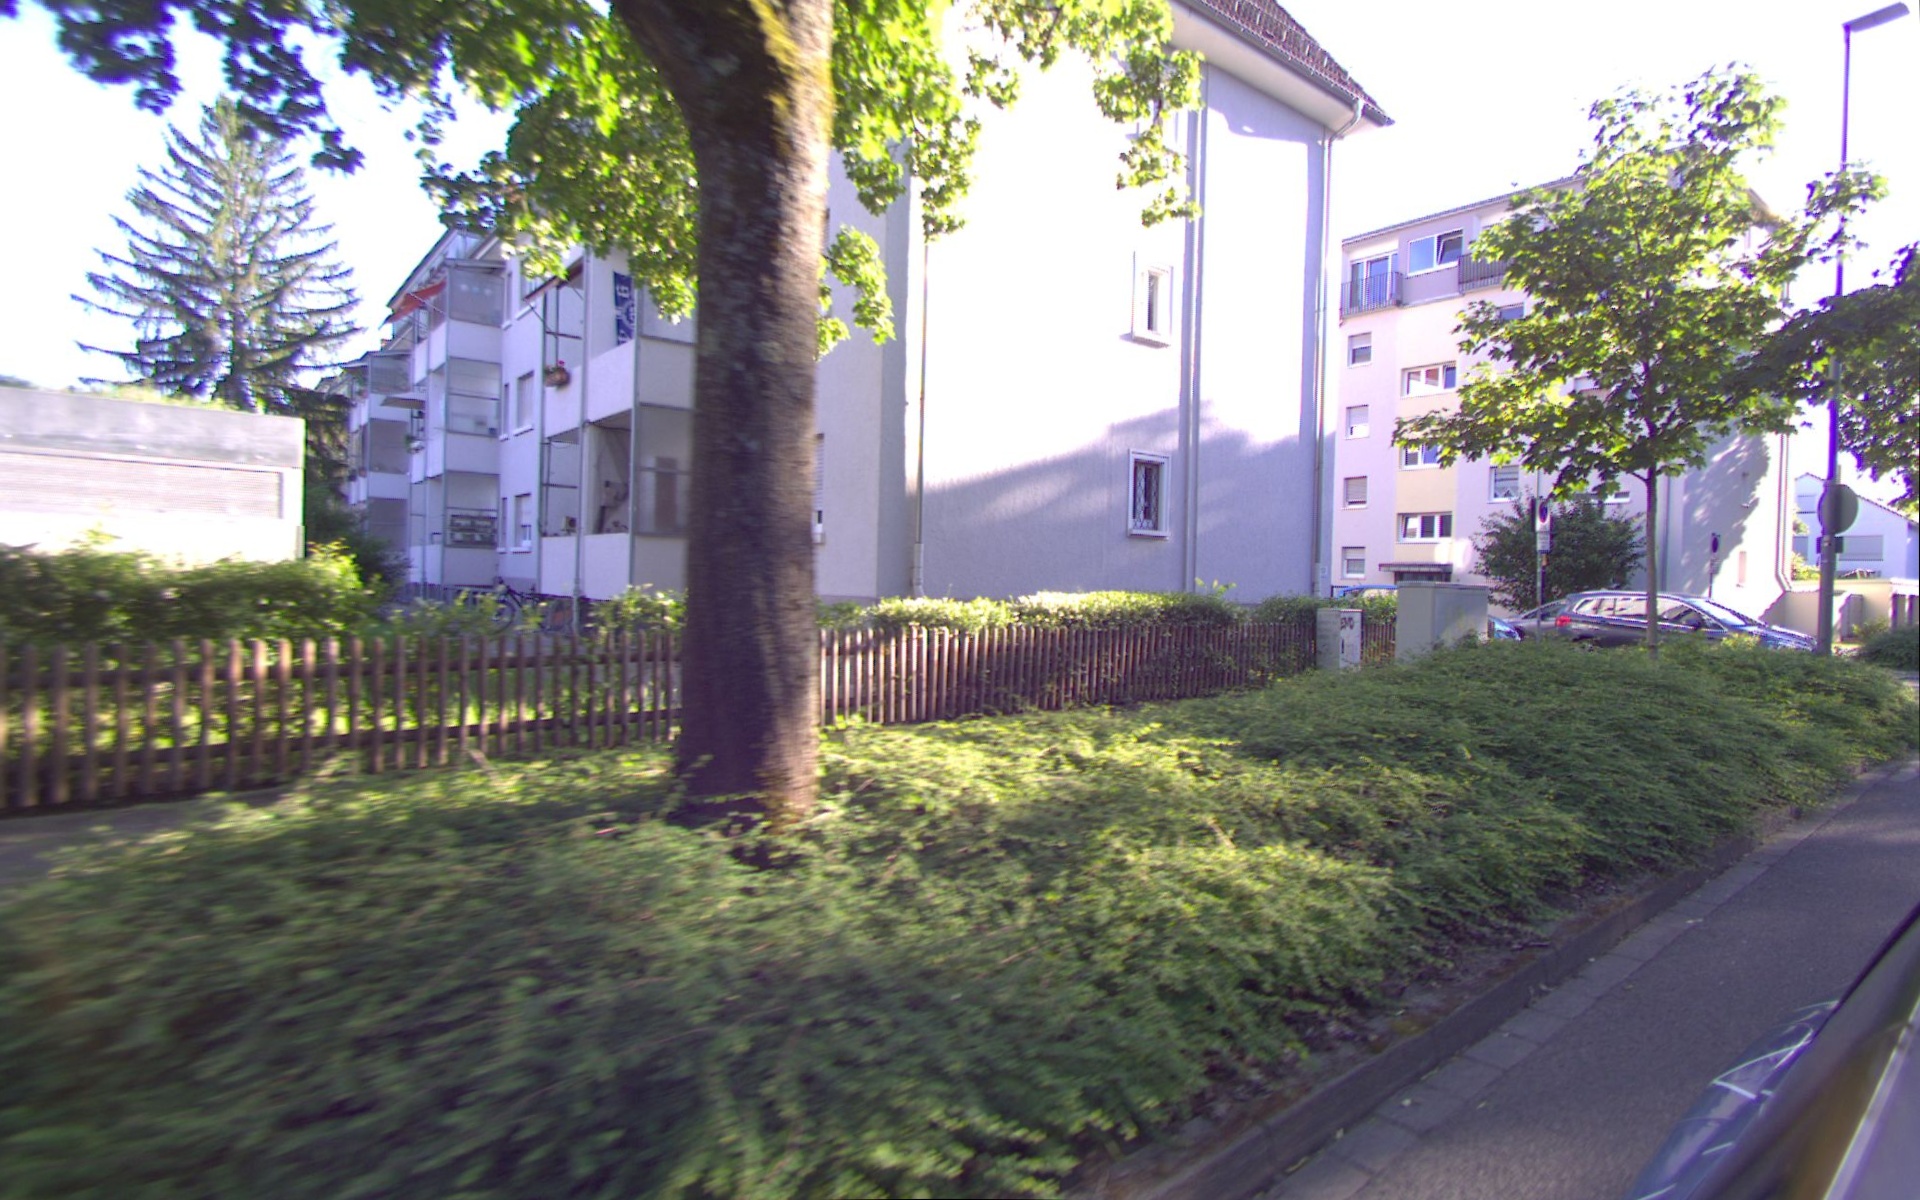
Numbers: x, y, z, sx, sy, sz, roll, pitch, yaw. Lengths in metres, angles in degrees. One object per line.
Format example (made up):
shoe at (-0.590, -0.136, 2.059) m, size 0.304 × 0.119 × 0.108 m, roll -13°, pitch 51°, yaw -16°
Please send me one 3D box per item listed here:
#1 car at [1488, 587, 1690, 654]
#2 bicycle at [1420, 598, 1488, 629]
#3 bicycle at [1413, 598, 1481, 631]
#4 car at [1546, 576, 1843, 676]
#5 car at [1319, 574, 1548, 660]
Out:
car at (15.943, 0.460, 25.815) m, size 1.696 × 1.533 × 4.050 m, roll -1°, pitch 1°, yaw -39°
bicycle at (16.524, 0.444, 33.880) m, size 0.536 × 0.971 × 1.973 m, roll 1°, pitch 1°, yaw -41°
bicycle at (15.532, 0.445, 32.311) m, size 0.536 × 0.971 × 1.904 m, roll 1°, pitch 1°, yaw -41°
car at (13.904, 0.450, 19.440) m, size 1.734 × 1.695 × 4.281 m, roll 1°, pitch -1°, yaw -32°
car at (9.911, 0.311, 21.421) m, size 1.778 × 1.601 × 3.995 m, roll 2°, pitch 0°, yaw -40°
